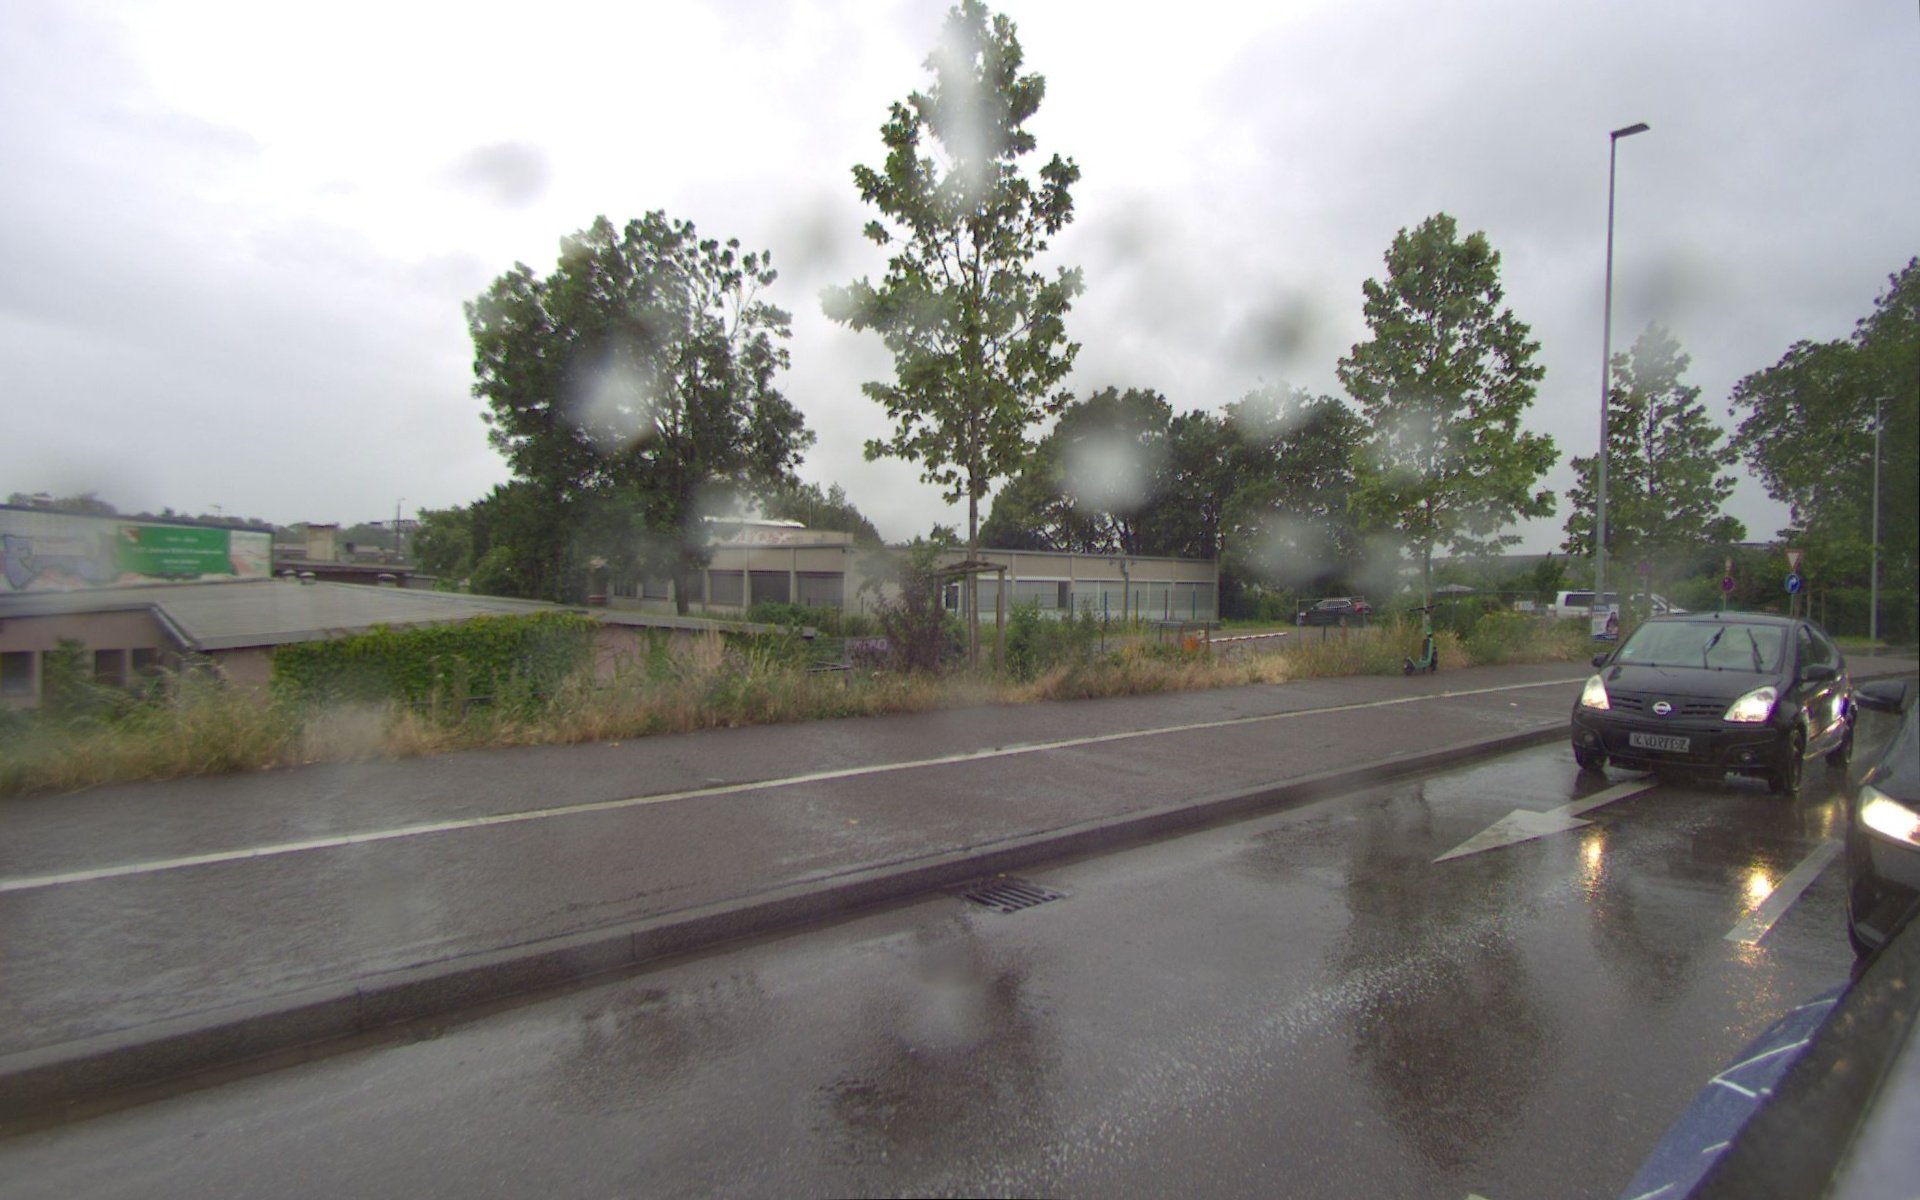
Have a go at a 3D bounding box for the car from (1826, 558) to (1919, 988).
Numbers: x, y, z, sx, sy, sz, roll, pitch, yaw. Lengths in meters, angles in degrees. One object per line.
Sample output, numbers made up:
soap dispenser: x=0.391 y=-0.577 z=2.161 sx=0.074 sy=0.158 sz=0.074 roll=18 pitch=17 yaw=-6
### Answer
car: x=5.588 y=0.671 z=4.463 sx=4.089 sy=1.601 sz=1.760 roll=1 pitch=0 yaw=-35

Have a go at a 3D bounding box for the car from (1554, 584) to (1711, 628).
car: x=28.099 y=0.236 z=42.460 sx=1.972 sy=1.747 sz=5.168 roll=0 pitch=0 yaw=-42

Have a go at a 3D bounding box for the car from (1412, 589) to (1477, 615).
car: x=30.932 y=0.111 z=64.689 sx=1.319 sy=1.604 sz=3.555 roll=0 pitch=0 yaw=-35

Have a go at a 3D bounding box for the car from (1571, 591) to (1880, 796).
car: x=7.141 y=0.702 z=9.331 sx=3.554 sy=1.528 sz=1.556 roll=0 pitch=0 yaw=-41

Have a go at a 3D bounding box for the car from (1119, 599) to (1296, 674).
car: x=4.687 y=0.647 z=19.495 sx=1.319 sy=1.304 sz=3.246 roll=0 pitch=0 yaw=-35

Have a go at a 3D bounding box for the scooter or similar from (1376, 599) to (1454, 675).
scooter or similar: x=7.668 y=0.588 z=17.012 sx=1.877 sy=1.214 sz=0.367 roll=0 pitch=0 yaw=-38
